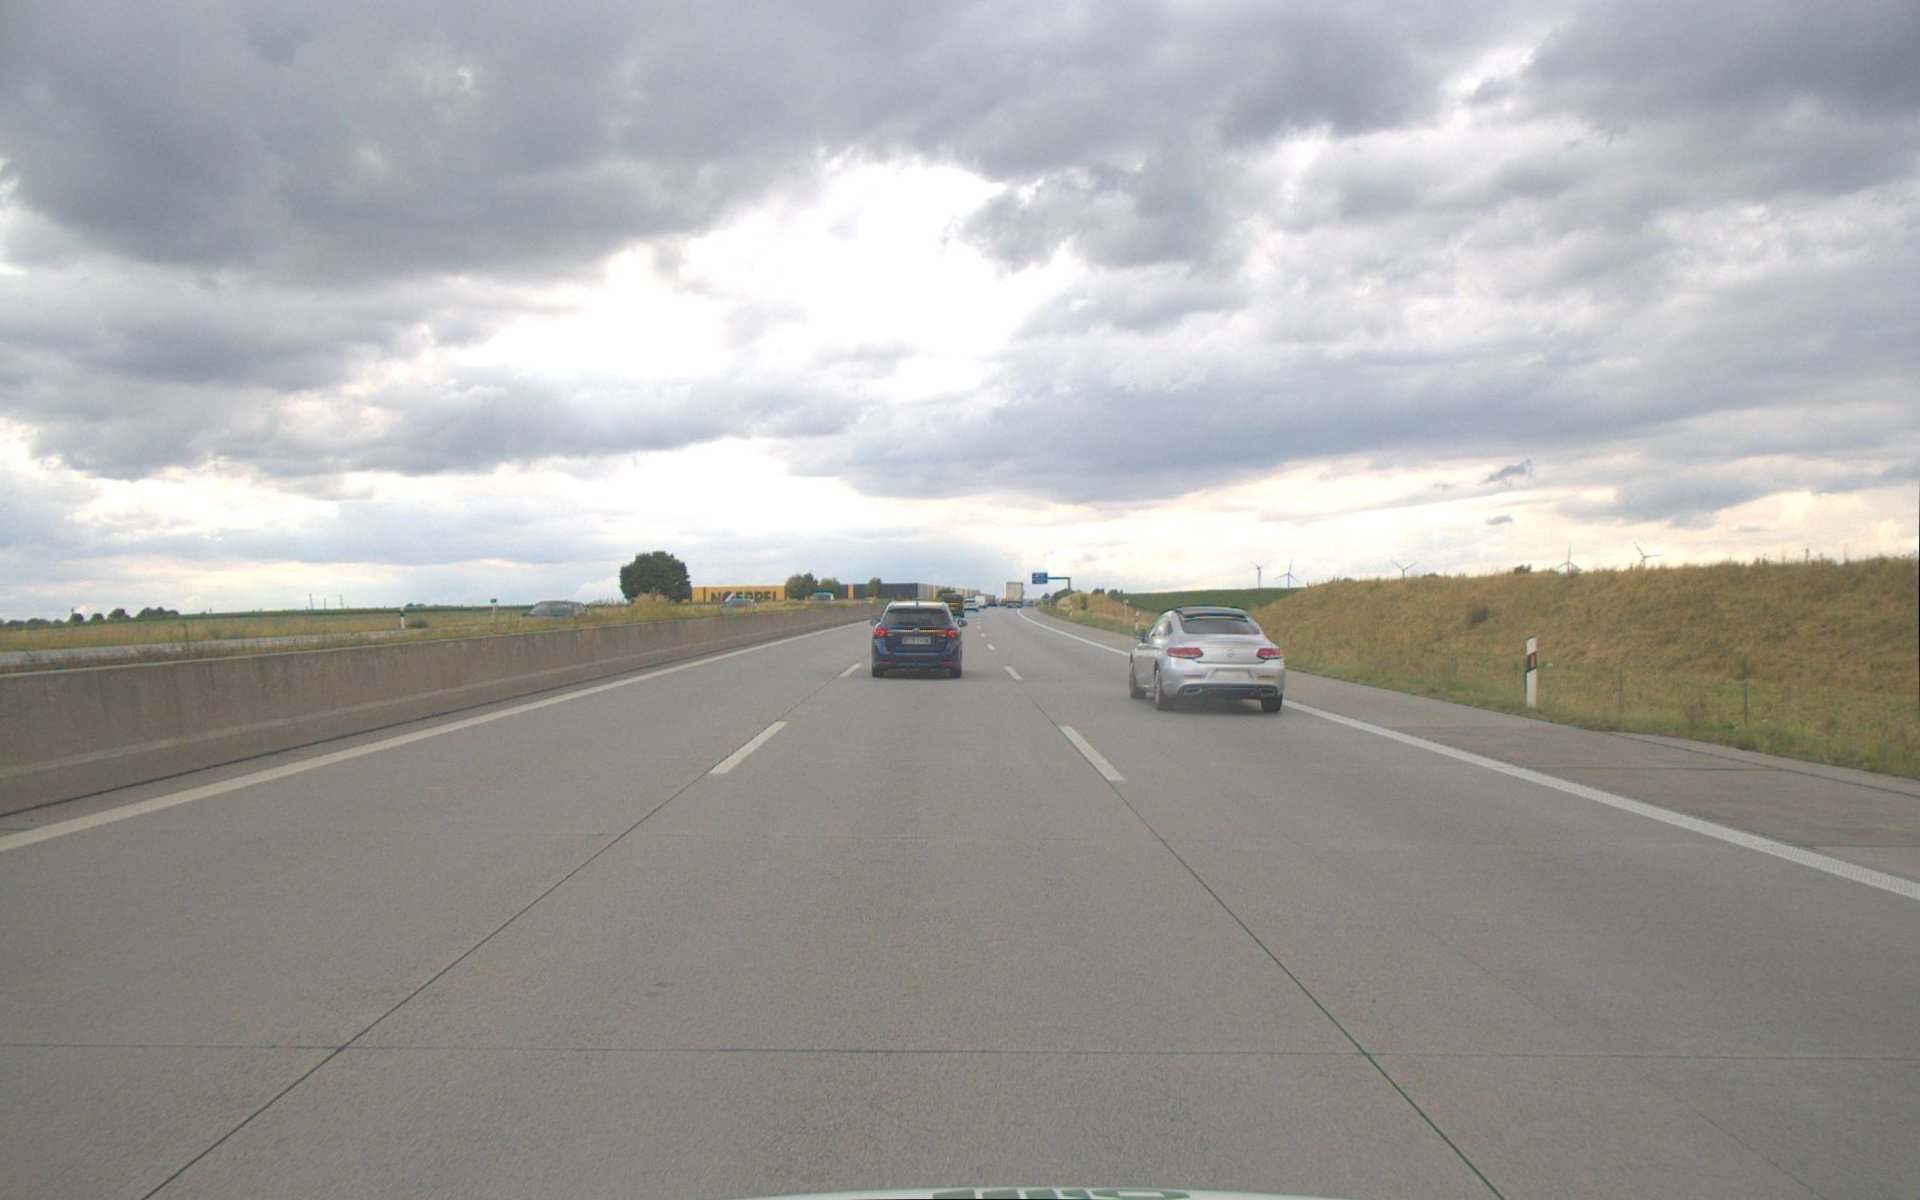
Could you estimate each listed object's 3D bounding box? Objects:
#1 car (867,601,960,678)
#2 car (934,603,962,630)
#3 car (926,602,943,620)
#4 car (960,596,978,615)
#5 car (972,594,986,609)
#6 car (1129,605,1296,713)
[{"bbox_3d":[-0.950,0.751,32.978,1.739,1.438,3.998,0,0,-3],"label":"car"},{"bbox_3d":[-0.965,1.332,131.797,1.955,2.049,3.995,1,-1,-5],"label":"car"},{"bbox_3d":[-3.119,1.363,203.264,2.004,2.049,3.999,1,-1,0],"label":"car"},{"bbox_3d":[1.003,0.602,188.483,1.952,2.049,4.000,2,0,1],"label":"car"},{"bbox_3d":[2.694,0.262,238.362,1.953,2.049,3.999,1,-1,-1],"label":"car"},{"bbox_3d":[3.586,0.803,24.183,1.752,1.428,4.220,0,0,-1],"label":"car"}]
